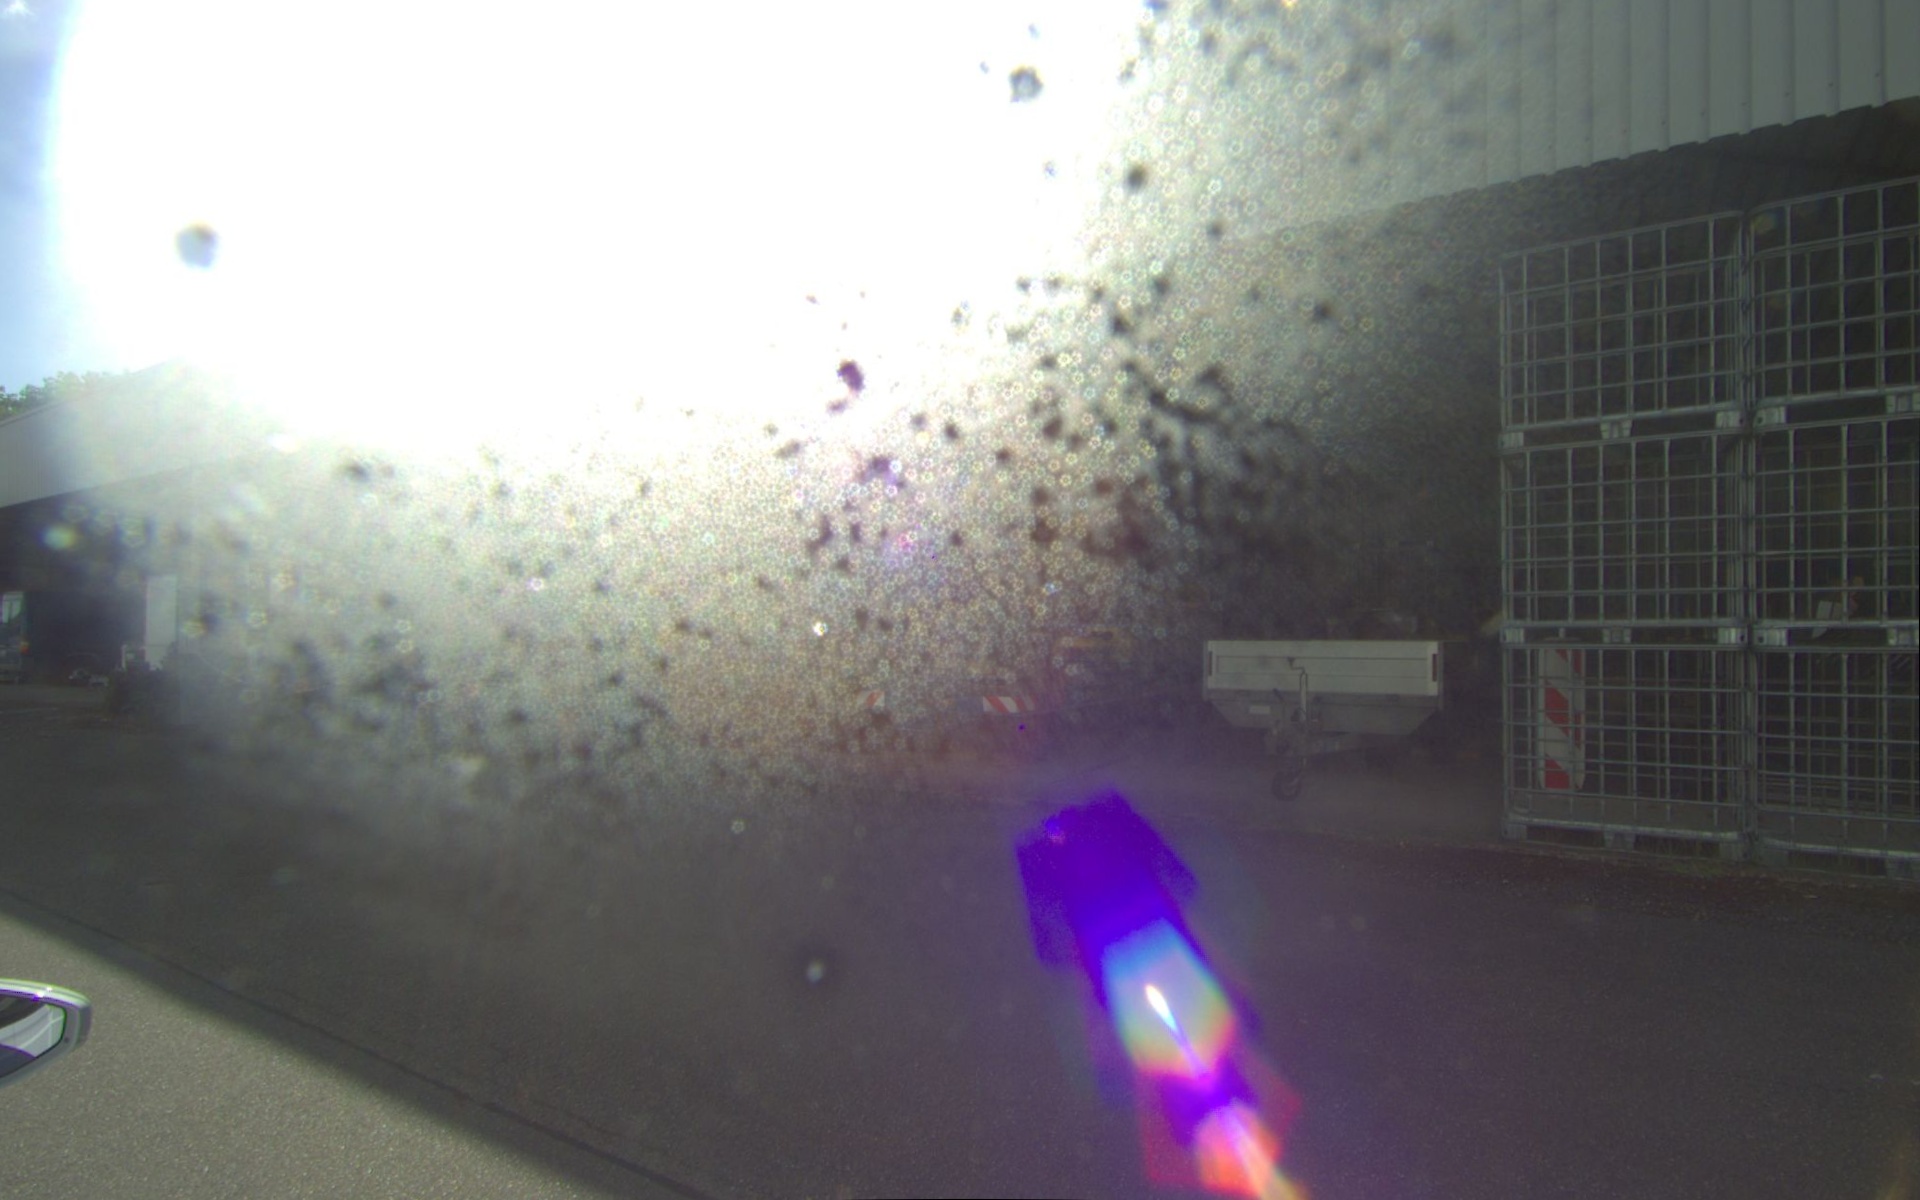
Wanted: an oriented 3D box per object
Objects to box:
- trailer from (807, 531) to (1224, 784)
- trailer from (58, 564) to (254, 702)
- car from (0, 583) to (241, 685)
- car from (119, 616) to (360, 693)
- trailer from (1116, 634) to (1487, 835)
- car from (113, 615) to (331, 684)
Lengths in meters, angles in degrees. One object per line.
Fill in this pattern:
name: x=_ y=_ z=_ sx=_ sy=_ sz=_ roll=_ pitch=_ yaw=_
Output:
trailer: x=1.003 y=0.529 z=11.153 sx=2.049 sy=2.058 sz=5.753 roll=-1 pitch=-1 yaw=33
trailer: x=-15.272 y=0.639 z=19.092 sx=1.703 sy=2.429 sz=2.518 roll=-2 pitch=-2 yaw=33
car: x=-21.379 y=0.946 z=25.638 sx=1.890 sy=2.337 sz=4.425 roll=-3 pitch=-4 yaw=33
car: x=-15.887 y=1.234 z=22.292 sx=1.662 sy=1.543 sz=4.031 roll=-3 pitch=-5 yaw=33
trailer: x=3.495 y=0.922 z=9.172 sx=2.110 sy=1.148 sz=5.840 roll=-1 pitch=-1 yaw=30
car: x=-18.226 y=1.261 z=24.909 sx=1.662 sy=1.543 sz=4.031 roll=-3 pitch=-5 yaw=33
